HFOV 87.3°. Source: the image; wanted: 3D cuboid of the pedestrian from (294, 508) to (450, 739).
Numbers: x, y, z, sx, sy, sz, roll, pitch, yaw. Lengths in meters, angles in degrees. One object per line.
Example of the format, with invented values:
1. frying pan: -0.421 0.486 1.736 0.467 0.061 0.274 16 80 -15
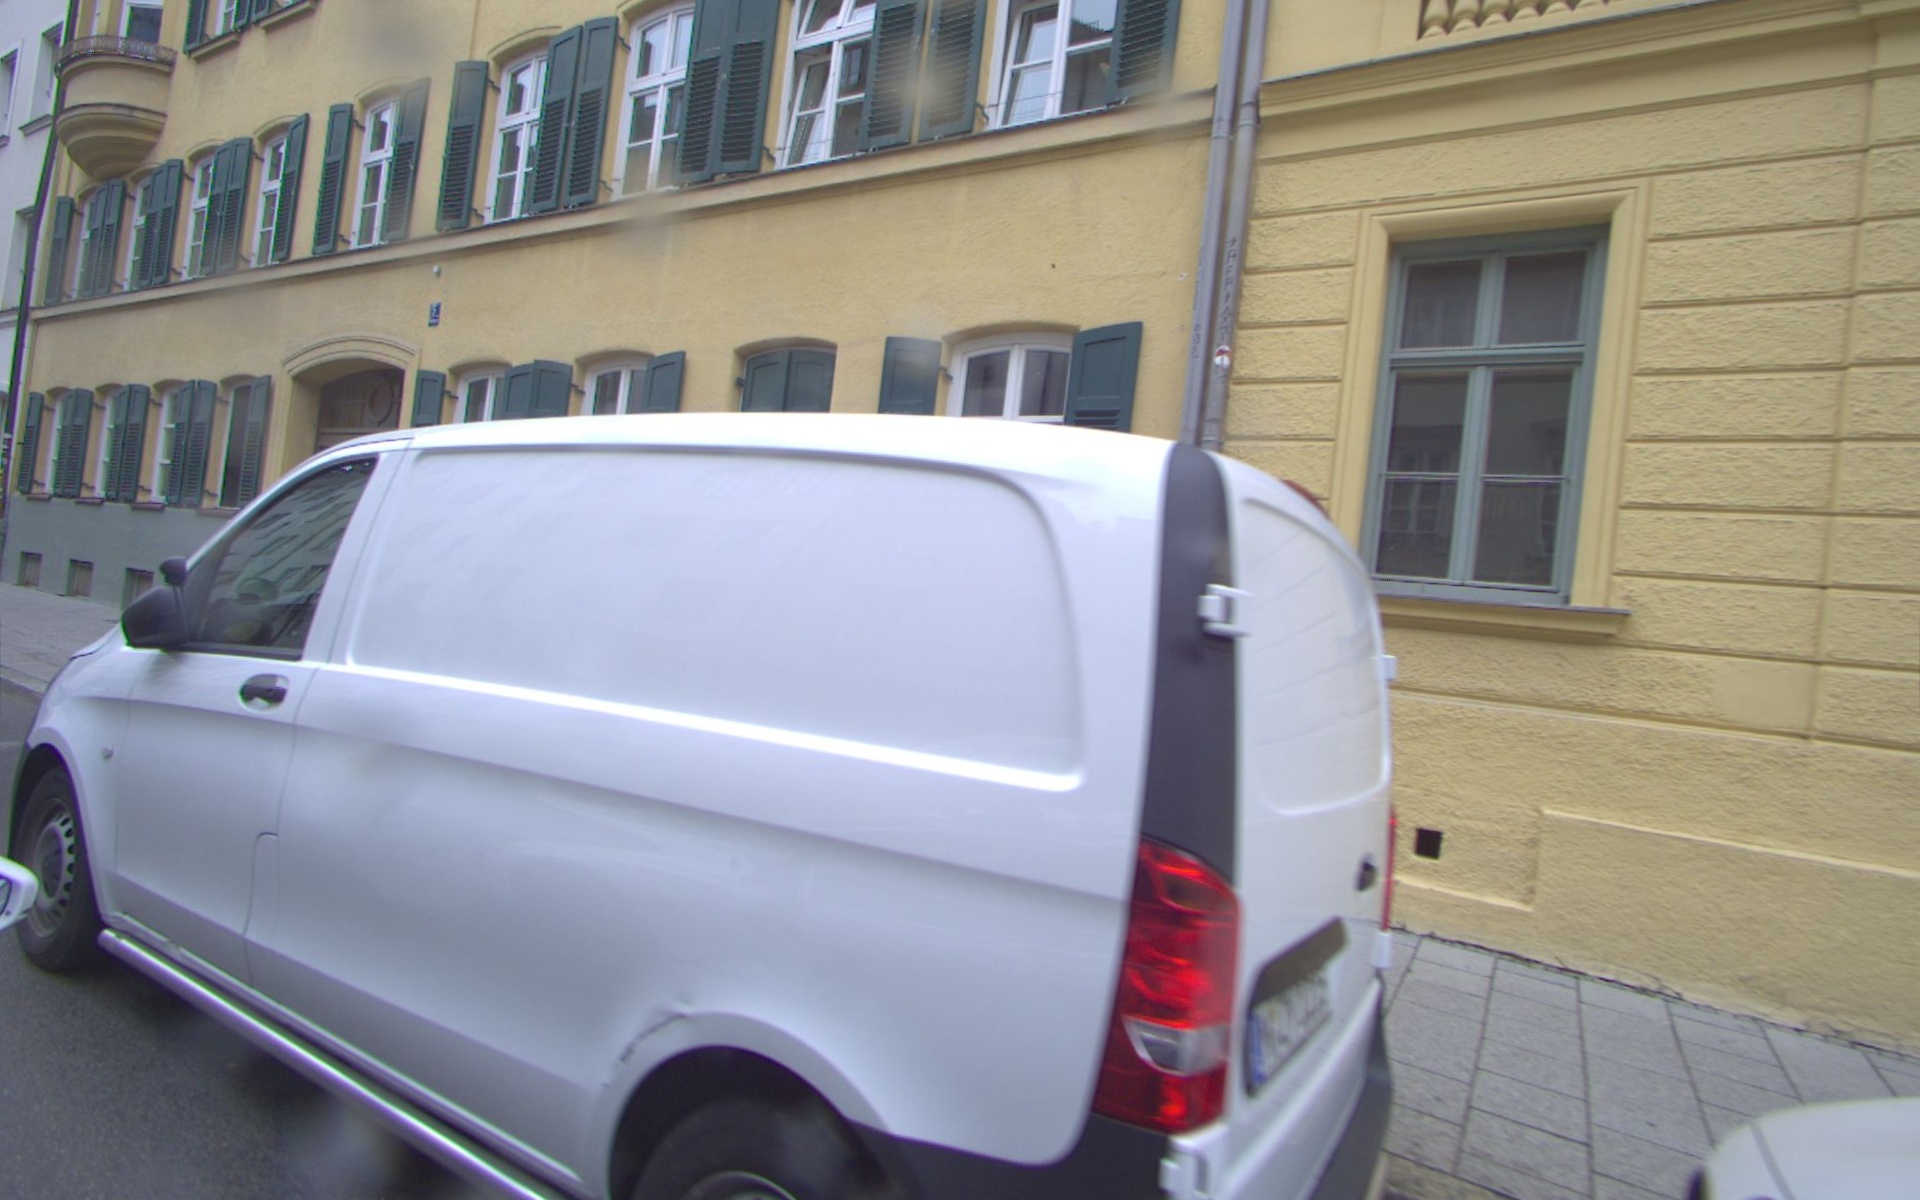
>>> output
1. pedestrian: -4.609 0.167 7.893 0.881 1.660 0.597 7 3 29

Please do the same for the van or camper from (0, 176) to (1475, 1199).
1. van or camper: -1.316 0.348 3.374 5.145 2.037 1.997 7 -1 31

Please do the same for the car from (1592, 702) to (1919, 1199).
1. car: 3.143 1.152 0.596 4.509 1.527 1.820 6 -1 30
